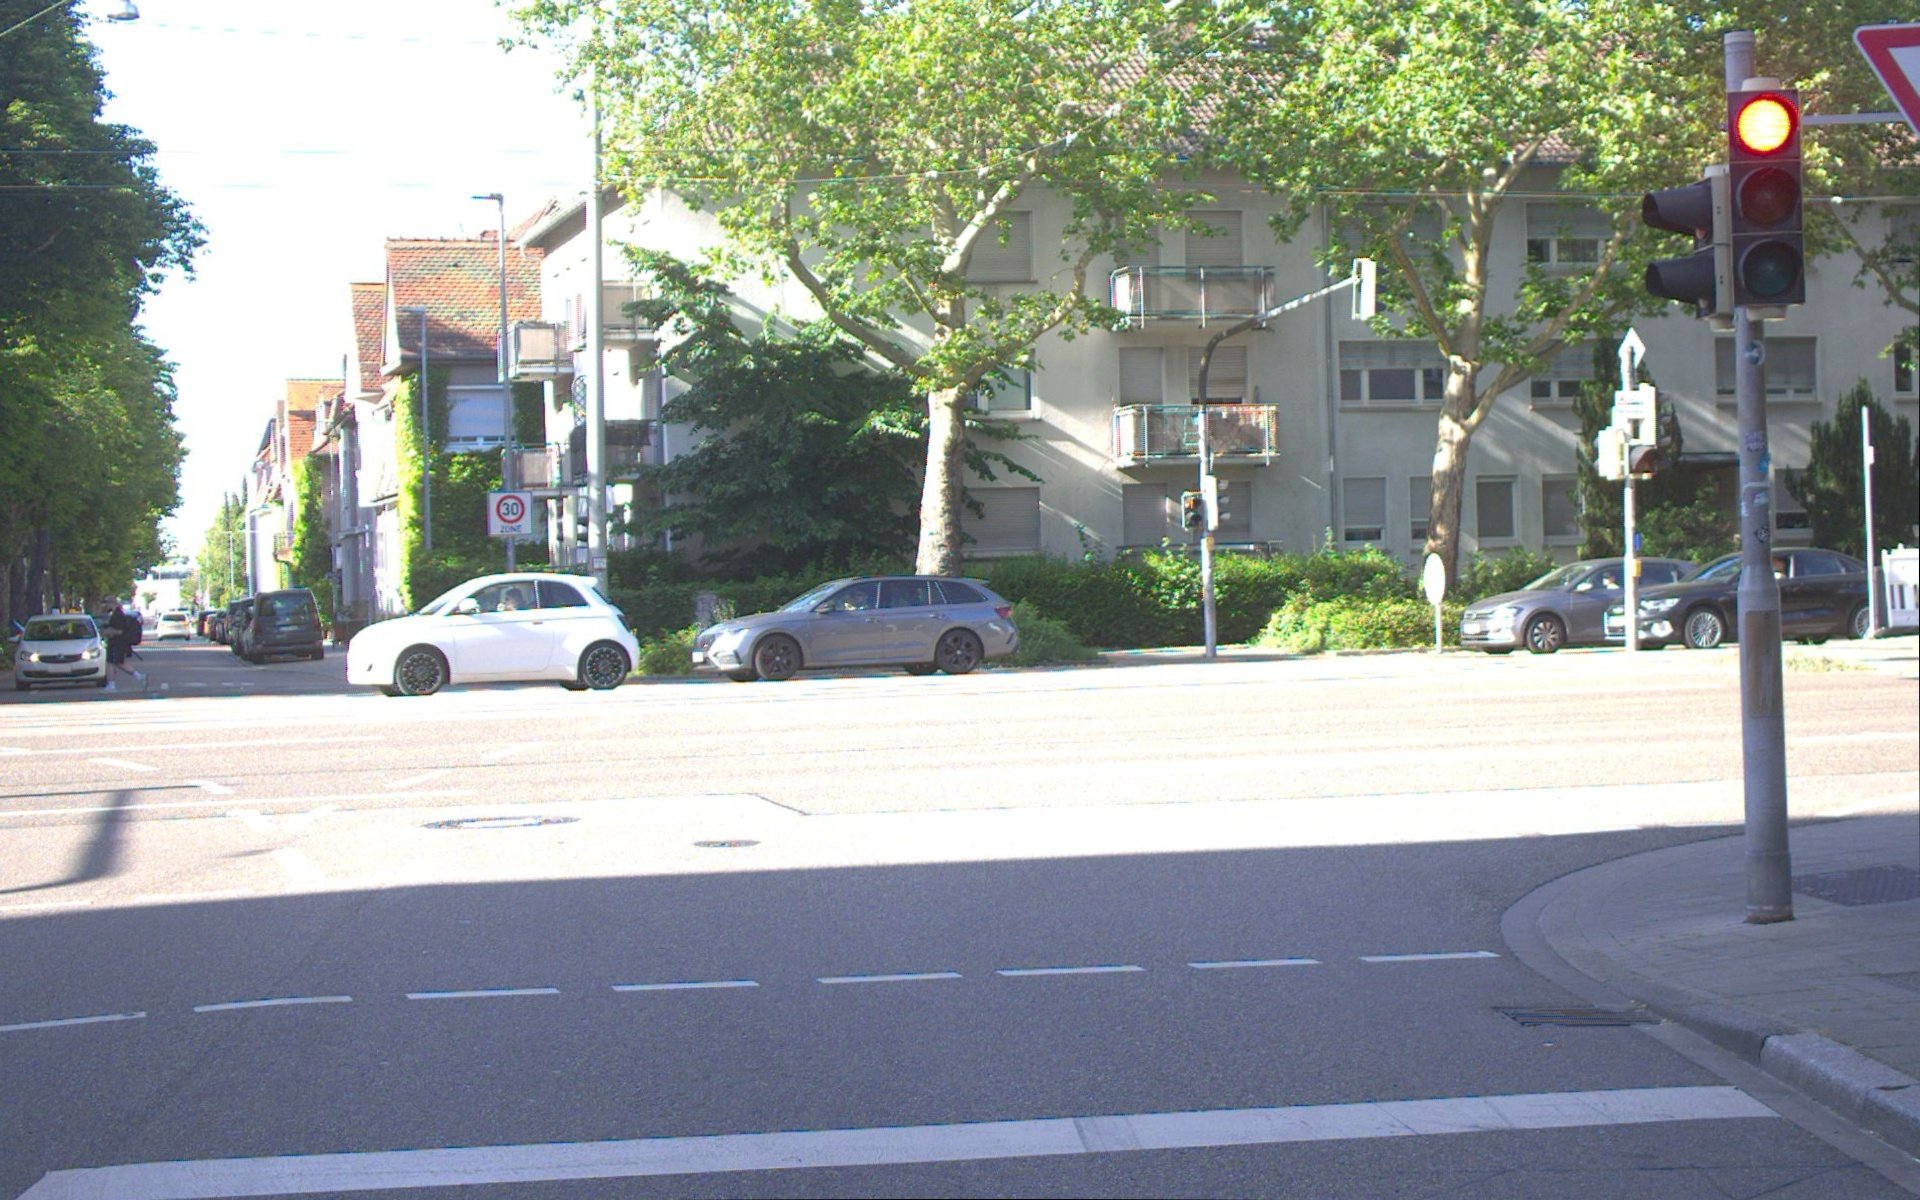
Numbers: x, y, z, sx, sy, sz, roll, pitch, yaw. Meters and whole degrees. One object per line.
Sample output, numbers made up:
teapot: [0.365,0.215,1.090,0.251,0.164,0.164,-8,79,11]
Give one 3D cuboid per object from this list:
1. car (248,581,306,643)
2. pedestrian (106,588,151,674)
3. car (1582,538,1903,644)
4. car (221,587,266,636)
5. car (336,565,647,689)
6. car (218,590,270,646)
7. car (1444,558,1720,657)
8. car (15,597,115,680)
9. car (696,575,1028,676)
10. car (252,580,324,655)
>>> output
car: [-22.919,0.383,115.255,1.772,1.912,3.535,-3,1,-12]
pedestrian: [-14.189,0.526,58.633,0.703,1.437,0.490,1,0,-17]
car: [11.184,-0.145,49.112,4.266,1.395,1.646,-1,1,-21]
car: [-30.528,0.477,146.432,1.772,1.912,3.535,-3,1,-12]
car: [-5.930,0.324,43.509,3.630,1.452,1.503,-1,1,-20]
car: [-26.697,0.659,128.147,1.772,1.912,3.535,-3,1,-12]
car: [9.411,0.098,52.031,3.780,1.395,1.646,-1,1,-21]
car: [-17.775,0.748,68.390,1.698,1.478,3.535,-3,1,-12]
car: [-1.392,0.341,48.803,4.385,1.312,1.646,-1,1,-20]
car: [-18.514,0.459,94.611,1.772,1.912,3.535,-3,1,-12]
